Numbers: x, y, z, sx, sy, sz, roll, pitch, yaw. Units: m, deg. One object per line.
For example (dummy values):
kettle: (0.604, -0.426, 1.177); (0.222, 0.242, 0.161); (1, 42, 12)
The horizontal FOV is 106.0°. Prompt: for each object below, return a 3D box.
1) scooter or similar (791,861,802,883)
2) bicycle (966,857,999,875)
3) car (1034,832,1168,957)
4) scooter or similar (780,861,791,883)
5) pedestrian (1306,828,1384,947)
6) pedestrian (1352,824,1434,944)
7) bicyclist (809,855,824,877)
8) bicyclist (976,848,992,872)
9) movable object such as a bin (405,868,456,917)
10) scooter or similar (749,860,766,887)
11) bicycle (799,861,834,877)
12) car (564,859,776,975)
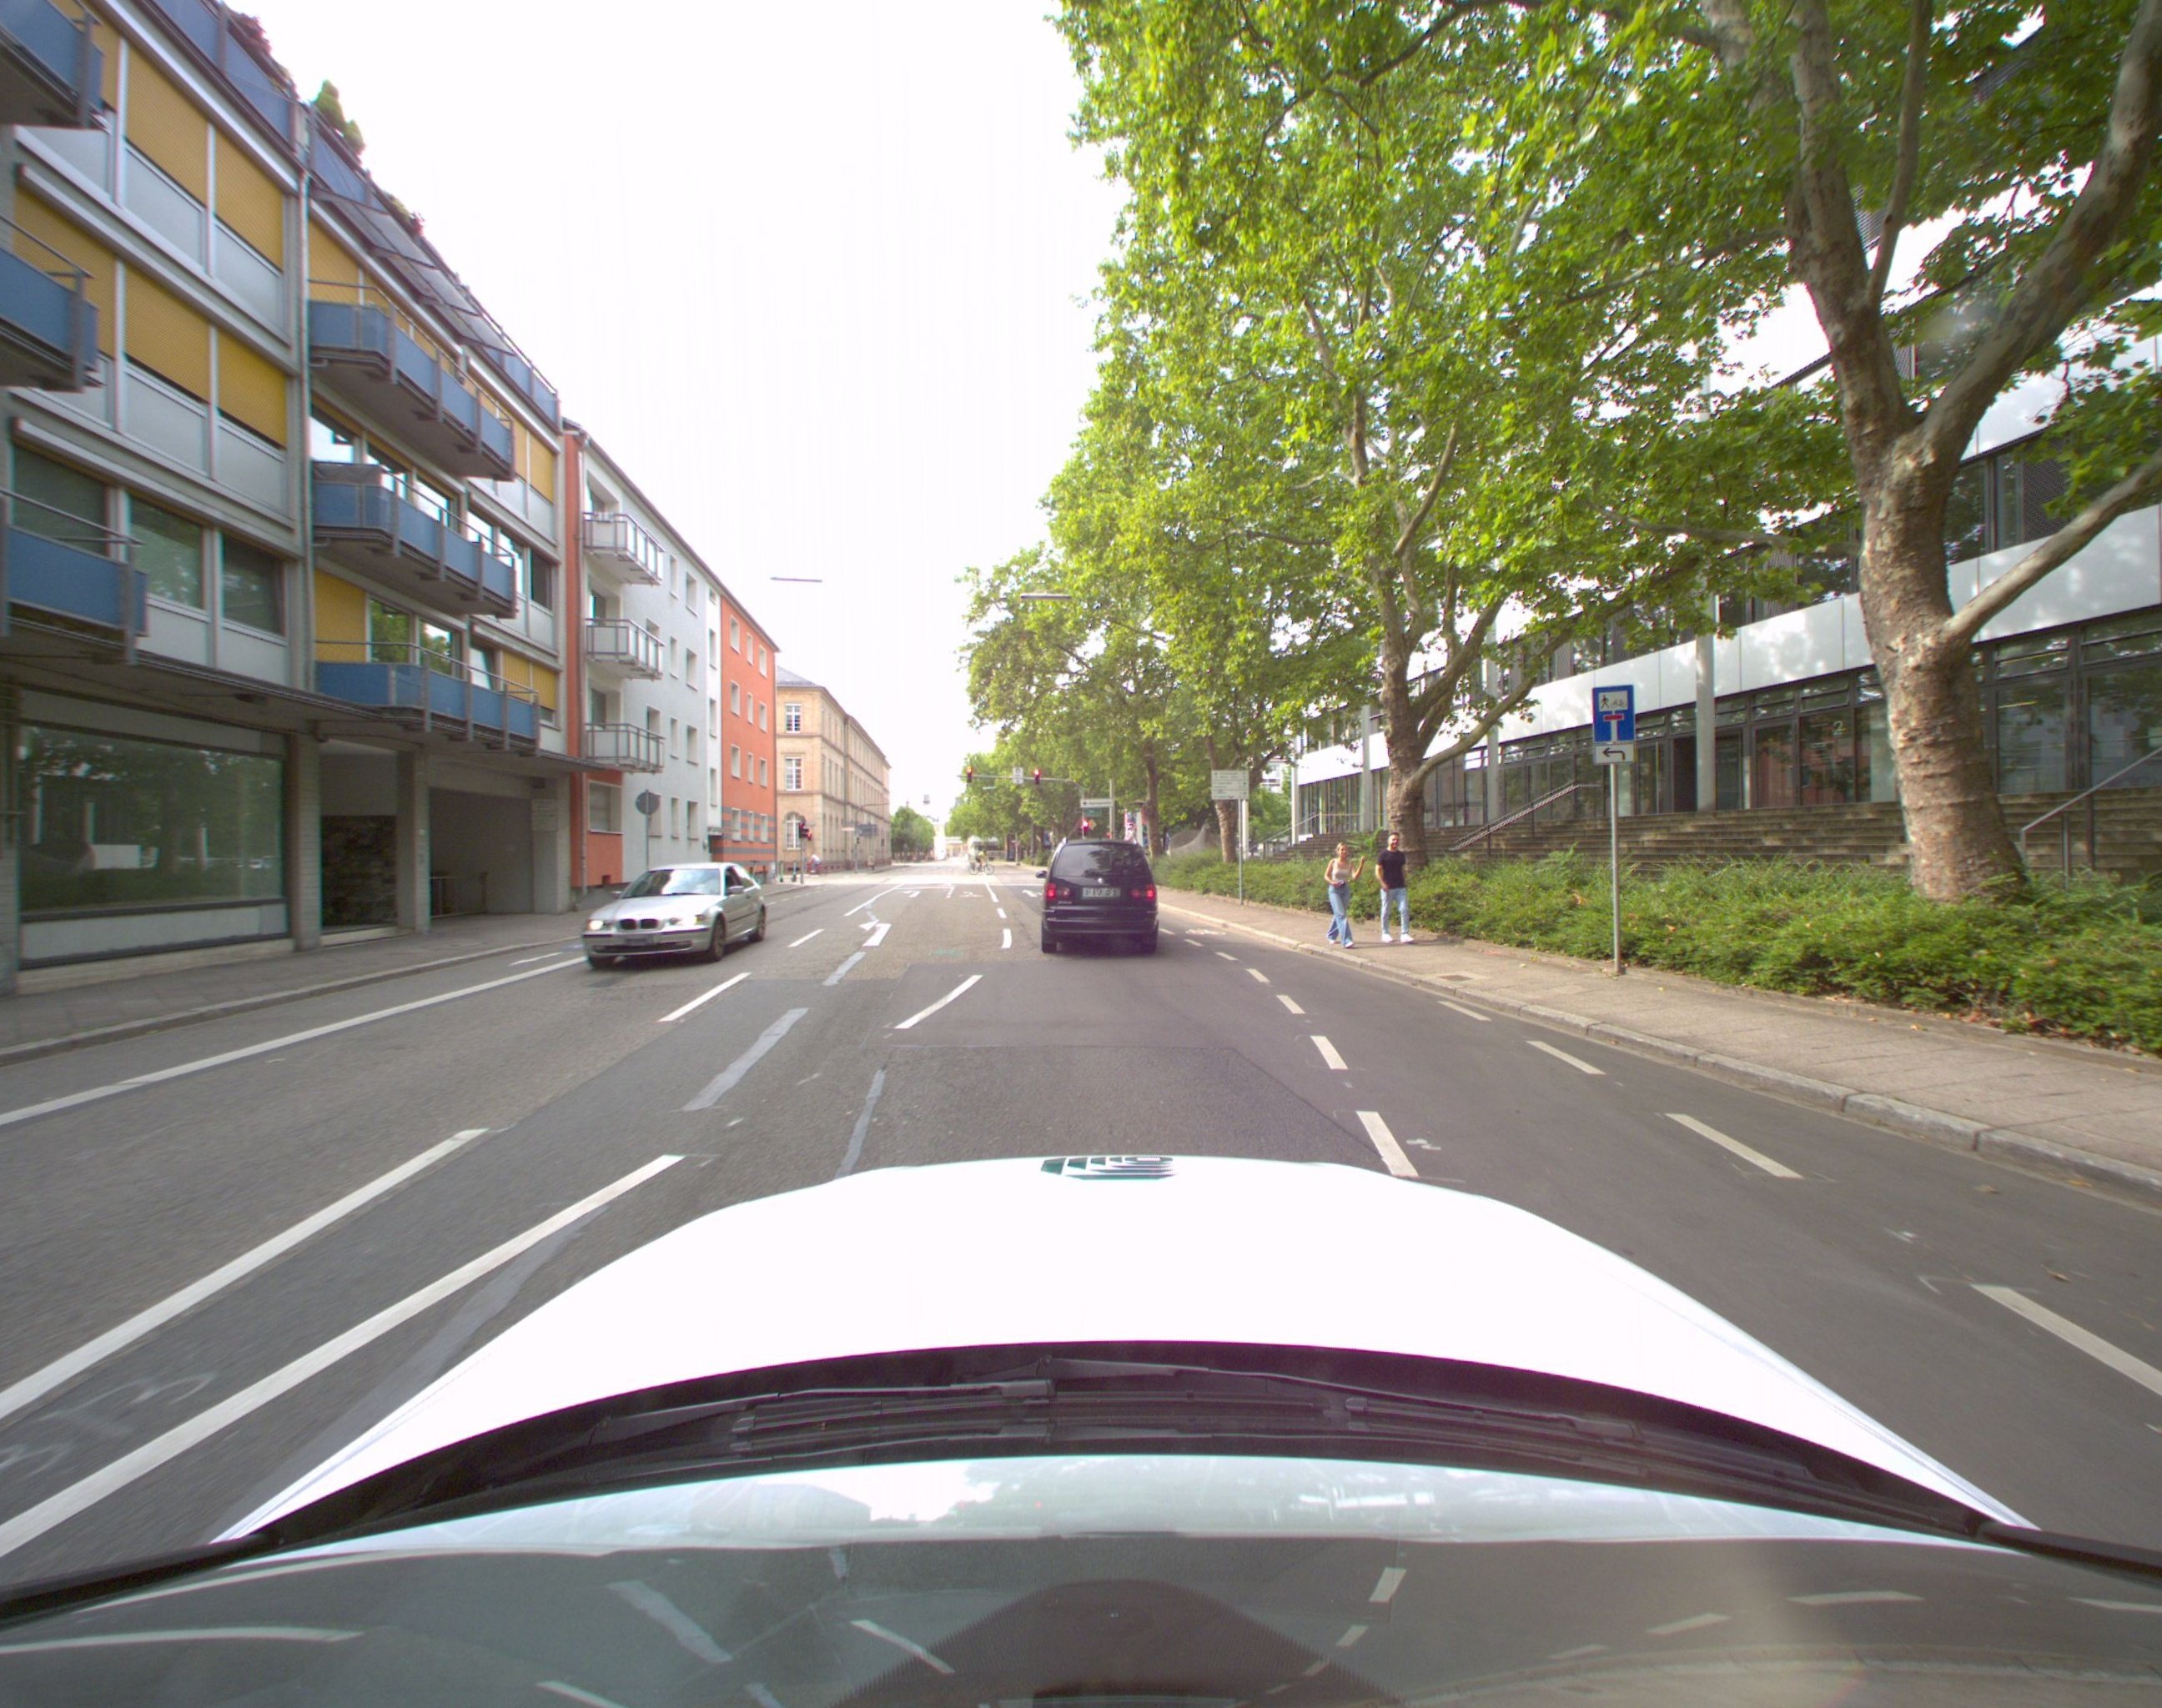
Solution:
scooter or similar: (-15.426, 0.970, 44.206); (0.378, 1.144, 1.137); (-1, -2, -11)
bicycle: (-6.359, 0.770, 52.533); (2.026, 1.094, 0.623); (-1, 0, -21)
car: (0.356, 0.558, 13.735); (1.867, 1.745, 4.575); (-1, 0, 2)
scooter or similar: (-15.842, 0.961, 43.683); (0.378, 1.147, 1.137); (-1, -2, -11)
pedestrian: (4.169, 0.509, 12.911); (0.710, 1.783, 1.030); (-3, 0, -9)
pedestrian: (4.939, 0.459, 12.953); (0.715, 1.800, 1.030); (-3, 0, -9)
bicyclist: (-18.282, 0.803, 56.246); (0.915, 1.493, 0.624); (-1, 0, -12)
bicyclist: (-6.272, 0.411, 52.564); (0.918, 1.514, 0.622); (-1, 0, -21)
movable object such as a bin: (-15.354, 0.897, 19.241); (0.641, 1.126, 0.708); (-1, 0, -7)
scooter or similar: (-14.910, 0.896, 37.554); (0.378, 1.184, 1.386); (-1, -1, -8)
bicycle: (-18.248, 1.042, 56.255); (2.236, 1.094, 0.624); (-1, 0, -13)
car: (-6.219, 0.847, 12.883); (1.757, 1.427, 4.086); (-2, 0, -9)
